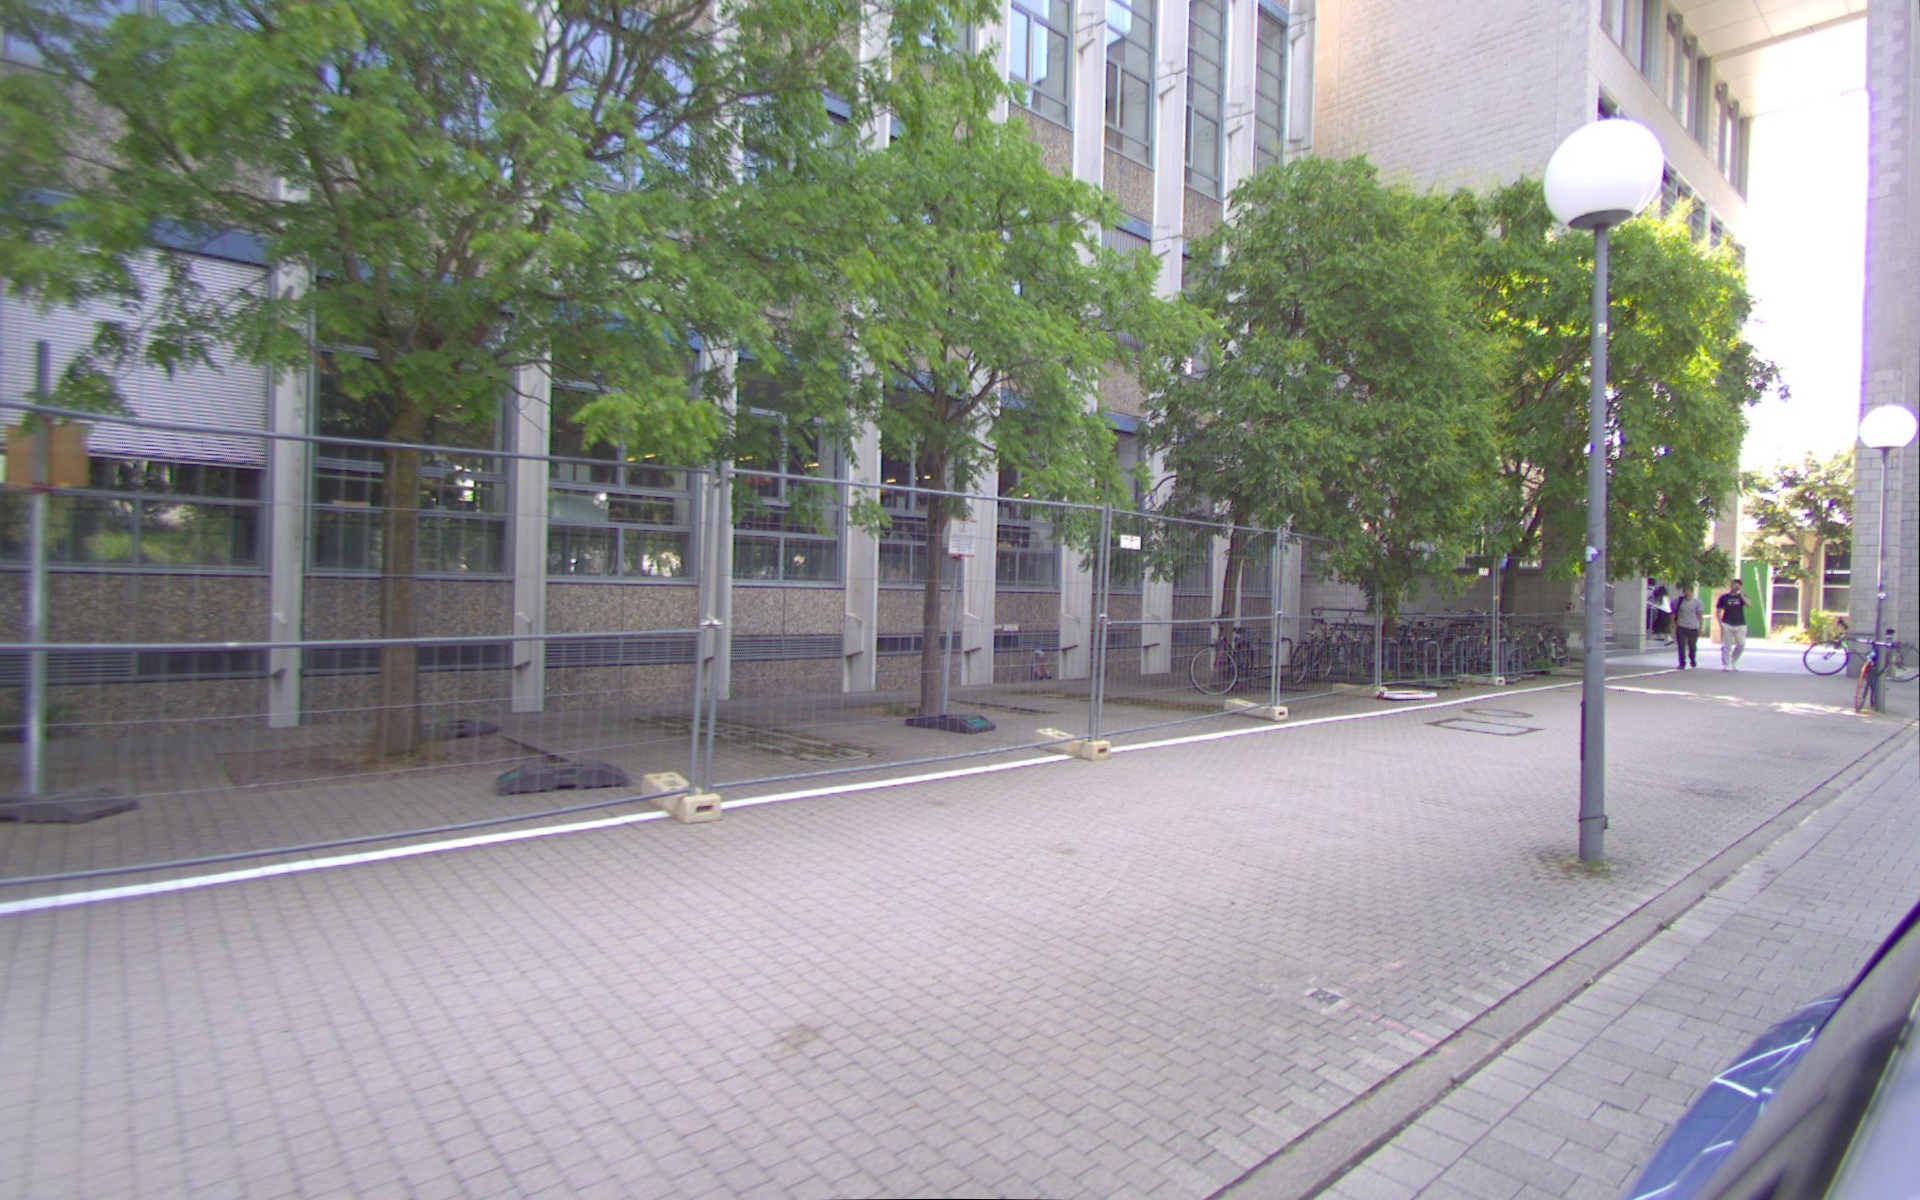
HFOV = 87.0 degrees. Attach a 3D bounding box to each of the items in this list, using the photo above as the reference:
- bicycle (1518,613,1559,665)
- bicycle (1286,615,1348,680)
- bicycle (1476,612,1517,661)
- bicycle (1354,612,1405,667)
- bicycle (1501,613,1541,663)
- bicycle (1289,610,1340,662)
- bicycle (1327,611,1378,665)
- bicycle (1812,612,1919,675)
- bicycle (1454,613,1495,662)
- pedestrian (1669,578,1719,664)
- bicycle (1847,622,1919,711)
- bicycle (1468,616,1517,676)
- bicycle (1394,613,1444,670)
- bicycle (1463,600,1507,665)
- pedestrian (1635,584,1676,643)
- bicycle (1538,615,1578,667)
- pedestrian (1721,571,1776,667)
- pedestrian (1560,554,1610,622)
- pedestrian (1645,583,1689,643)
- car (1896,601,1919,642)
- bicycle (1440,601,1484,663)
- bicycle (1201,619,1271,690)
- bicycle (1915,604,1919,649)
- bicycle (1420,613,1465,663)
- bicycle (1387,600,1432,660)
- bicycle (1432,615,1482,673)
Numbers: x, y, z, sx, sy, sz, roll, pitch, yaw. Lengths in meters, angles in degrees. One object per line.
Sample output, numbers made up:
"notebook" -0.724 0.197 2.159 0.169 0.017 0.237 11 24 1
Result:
"bicycle" 10.973 0.722 19.185 0.291 0.917 1.424 2 1 45
"bicycle" 5.533 0.706 15.637 0.290 0.917 1.779 2 1 40
"bicycle" 10.556 0.702 19.901 0.291 0.917 1.424 2 1 45
"bicycle" 7.398 0.678 17.820 0.291 0.917 1.424 2 1 45
"bicycle" 10.844 0.713 19.541 0.291 0.917 1.424 2 1 45
"bicycle" 6.596 0.650 18.780 0.291 0.917 1.424 2 1 45
"bicycle" 7.069 0.661 18.206 0.291 0.917 1.424 2 1 45
"bicycle" 16.896 0.798 18.682 1.739 1.052 0.442 3 0 45
"bicycle" 10.283 0.735 20.207 0.291 0.917 1.424 2 1 45
"pedestrian" 14.833 0.413 20.461 0.697 1.676 0.873 2 0 31
"bicycle" 12.417 0.857 13.576 1.827 1.052 0.538 0 2 -42
"bicycle" 8.744 0.742 16.594 0.291 0.917 1.424 2 1 45
"bicycle" 7.869 0.700 17.335 0.291 0.917 1.424 2 1 45
"bicycle" 9.680 0.580 18.643 0.291 1.142 1.424 2 1 45
"pedestrian" 20.481 0.376 29.795 0.895 1.691 0.665 2 0 40
"bicycle" 11.186 0.744 18.922 0.291 0.917 1.424 2 1 45
"pedestrian" 15.511 0.362 19.929 0.697 1.826 0.873 2 0 31
"pedestrian" 17.411 -0.332 28.186 0.755 1.837 0.960 0 0 -33
"pedestrian" 20.087 0.355 28.772 0.797 1.637 0.736 2 1 19
"car" 37.645 0.872 37.825 1.625 1.494 3.774 -2 3 -41
"bicycle" 9.386 0.573 18.907 0.291 1.108 1.424 2 1 45
"bicycle" 3.916 0.741 14.299 0.290 0.917 1.595 2 1 40
"bicycle" 26.369 0.765 26.527 1.881 1.178 0.595 4 2 45
"bicycle" 9.150 0.700 19.168 0.291 0.898 1.424 2 1 45
"bicycle" 8.731 0.567 19.655 0.291 1.113 1.424 2 1 45
"bicycle" 8.326 0.722 16.940 0.291 0.917 1.424 2 1 45
